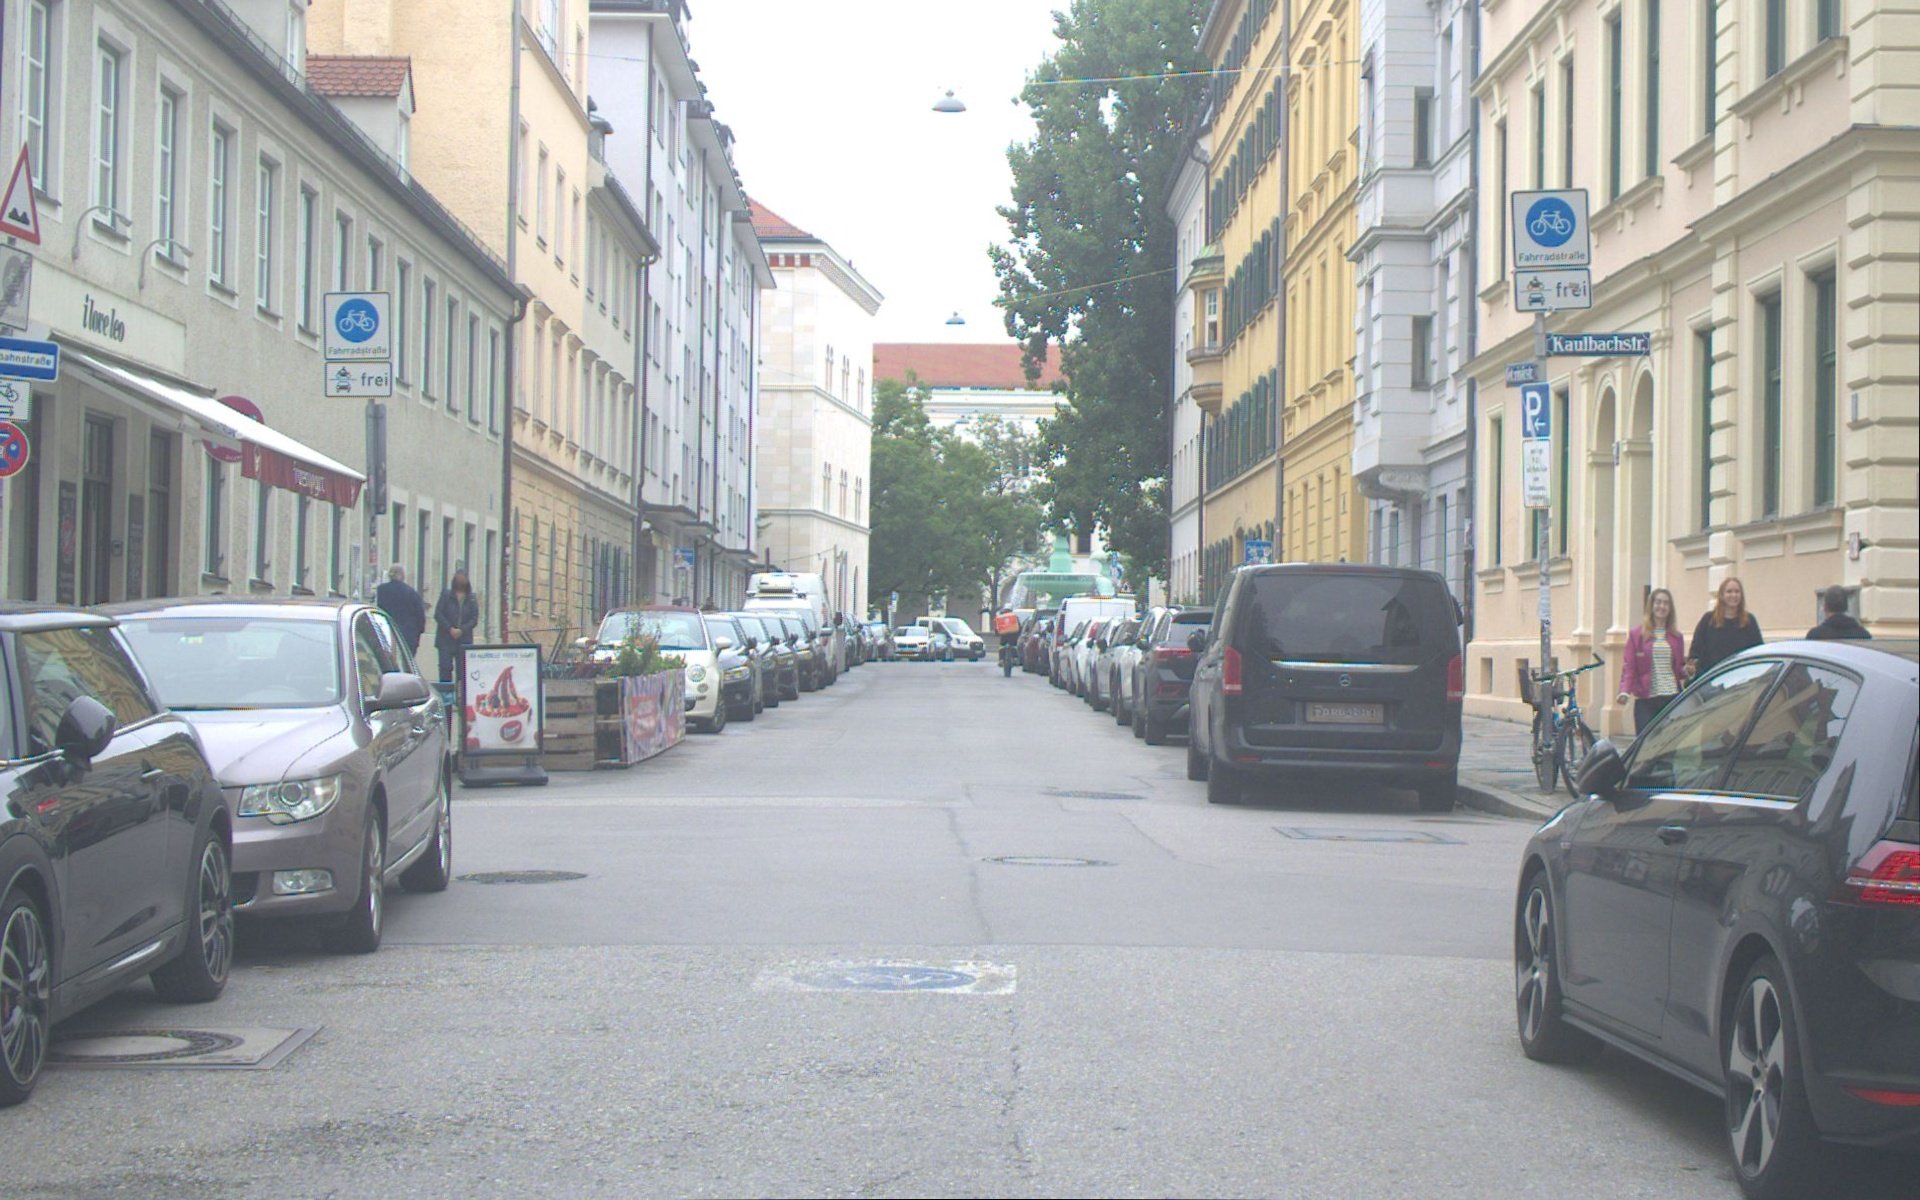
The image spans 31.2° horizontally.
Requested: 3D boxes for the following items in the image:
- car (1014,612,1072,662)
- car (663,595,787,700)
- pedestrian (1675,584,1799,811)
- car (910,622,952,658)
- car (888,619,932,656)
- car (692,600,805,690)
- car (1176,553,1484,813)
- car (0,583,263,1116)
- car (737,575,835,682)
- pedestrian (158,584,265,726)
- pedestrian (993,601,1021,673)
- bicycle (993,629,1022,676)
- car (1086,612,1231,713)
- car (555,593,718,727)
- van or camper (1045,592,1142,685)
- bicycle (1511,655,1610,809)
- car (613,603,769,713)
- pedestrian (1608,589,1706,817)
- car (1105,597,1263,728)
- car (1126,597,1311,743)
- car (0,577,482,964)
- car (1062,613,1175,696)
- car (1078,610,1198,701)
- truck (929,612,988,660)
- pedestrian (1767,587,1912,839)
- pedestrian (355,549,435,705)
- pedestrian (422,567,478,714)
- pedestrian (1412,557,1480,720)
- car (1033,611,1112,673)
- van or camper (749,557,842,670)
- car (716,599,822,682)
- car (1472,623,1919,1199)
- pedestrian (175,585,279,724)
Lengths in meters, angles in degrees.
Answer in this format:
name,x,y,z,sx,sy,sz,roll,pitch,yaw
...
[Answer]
name,x,y,z,sx,sy,sz,roll,pitch,yaw
car,2.733,1.224,113.850,1.812,1.609,4.155,1,-1,0
car,-3.538,0.713,52.336,1.754,1.491,4.201,2,-1,-3
pedestrian,5.675,0.714,25.161,0.658,1.615,0.979,1,-2,-1
car,-1.310,1.810,155.276,1.706,1.576,3.862,0,-1,2
car,-2.152,1.625,148.907,1.706,1.576,3.862,0,-1,2
car,-3.549,0.728,57.571,1.816,1.437,4.132,0,0,-4
car,2.895,0.624,28.016,1.997,1.858,5.252,2,0,1
car,-3.465,0.688,10.793,1.679,1.466,4.097,0,0,1
car,-3.451,0.556,67.489,1.754,1.988,4.626,2,-1,-4
pedestrian,-6.901,0.512,31.727,0.803,1.286,0.693,1,-2,0
pedestrian,1.132,0.888,82.781,0.642,1.708,0.842,1,-2,1
bicycle,1.136,1.275,82.719,0.675,1.091,1.760,1,-2,1
car,2.901,0.909,50.963,1.708,1.400,4.207,2,-1,-2
car,-3.836,0.700,41.276,1.754,1.470,3.714,2,0,-3
van or camper,2.806,0.805,73.181,1.833,1.865,5.079,1,0,0
bicycle,4.582,0.989,26.307,0.465,1.049,1.729,-1,2,1
car,-3.577,0.749,46.428,1.798,1.335,4.685,2,0,-1
pedestrian,5.091,0.751,25.138,0.472,1.619,1.069,1,-2,-1
car,2.874,0.801,44.903,1.743,1.578,4.466,1,-1,0
car,2.888,0.772,39.101,1.754,1.516,4.274,1,-1,0
car,-3.227,0.648,15.511,1.679,1.466,4.950,0,0,-3
car,2.886,0.992,63.412,1.708,1.449,4.097,2,-1,-2
car,2.904,0.907,56.978,1.708,1.404,4.814,1,-1,0
truck,-0.089,1.801,169.639,2.120,2.240,6.186,1,-1,-7
pedestrian,6.128,0.783,23.994,0.719,1.711,1.004,1,-2,-1
pedestrian,-6.965,0.342,42.430,0.822,1.891,0.827,1,-2,-1
pedestrian,-6.251,0.506,42.155,0.528,1.776,0.877,1,-2,0
pedestrian,5.984,0.480,42.370,0.669,1.974,0.708,-2,-2,1
car,2.841,1.063,87.653,1.812,1.460,4.246,2,-1,0
van or camper,-3.465,0.304,73.003,1.754,2.273,5.273,1,-1,-1
car,-3.440,0.727,62.448,1.754,1.404,4.103,2,-1,-1
car,2.753,0.853,9.962,1.675,1.420,4.204,4,0,-2
pedestrian,-6.912,0.522,32.451,0.803,1.286,0.693,1,-2,0
